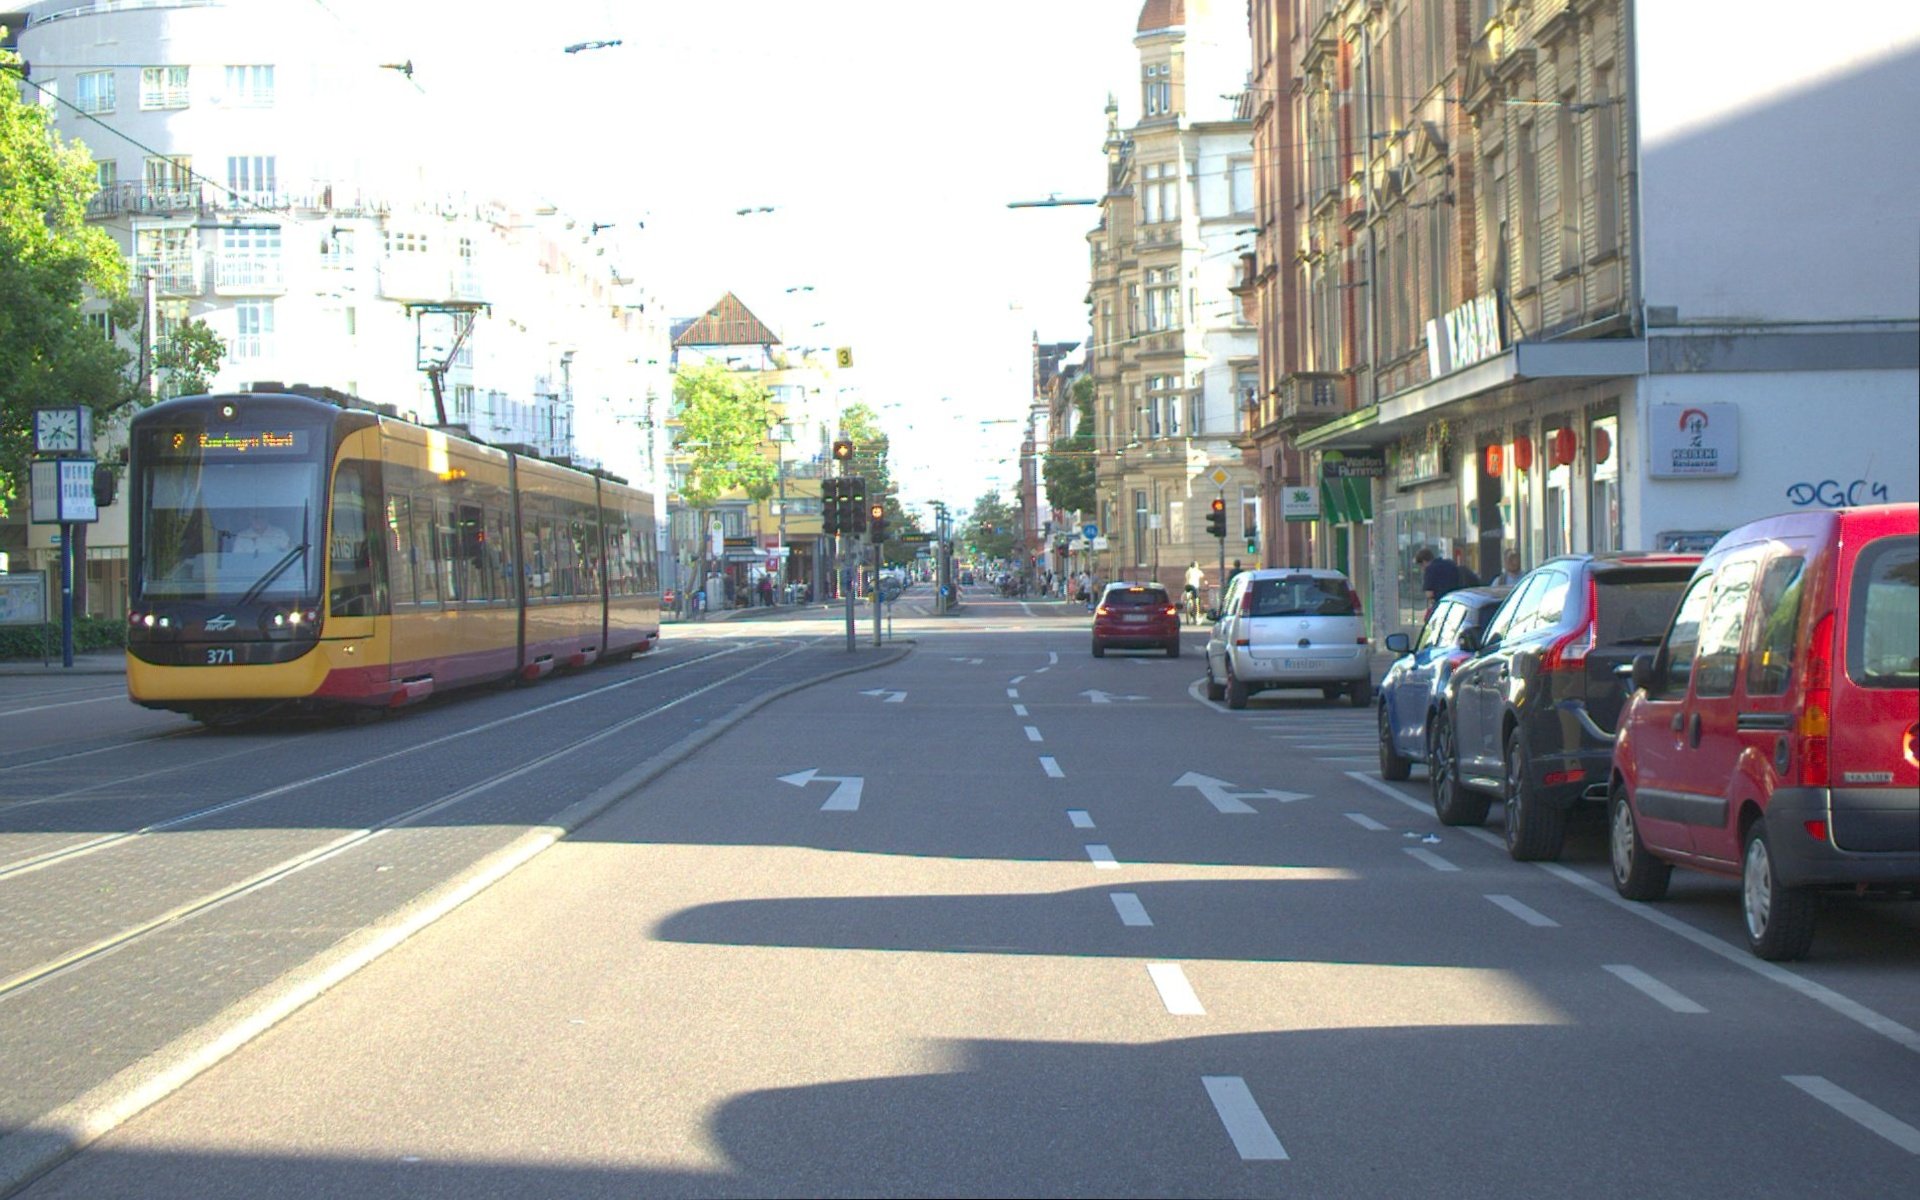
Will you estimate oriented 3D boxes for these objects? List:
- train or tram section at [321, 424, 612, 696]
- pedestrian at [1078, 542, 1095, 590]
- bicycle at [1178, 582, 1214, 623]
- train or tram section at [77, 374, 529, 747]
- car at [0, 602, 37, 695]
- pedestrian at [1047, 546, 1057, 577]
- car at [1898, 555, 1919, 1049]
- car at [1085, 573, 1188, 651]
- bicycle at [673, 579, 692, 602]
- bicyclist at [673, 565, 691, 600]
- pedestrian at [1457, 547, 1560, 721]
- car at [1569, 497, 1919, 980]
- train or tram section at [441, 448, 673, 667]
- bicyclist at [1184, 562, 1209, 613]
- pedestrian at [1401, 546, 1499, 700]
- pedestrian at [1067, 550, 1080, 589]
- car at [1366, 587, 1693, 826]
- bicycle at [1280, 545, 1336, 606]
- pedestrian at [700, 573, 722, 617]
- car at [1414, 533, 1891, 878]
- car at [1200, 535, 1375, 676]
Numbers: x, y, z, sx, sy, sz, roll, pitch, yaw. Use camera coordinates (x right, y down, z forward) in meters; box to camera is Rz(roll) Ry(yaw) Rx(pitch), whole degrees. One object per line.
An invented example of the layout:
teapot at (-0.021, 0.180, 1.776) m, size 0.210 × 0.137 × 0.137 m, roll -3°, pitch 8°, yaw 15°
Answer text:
train or tram section at (-7.167, -0.614, 51.574) m, size 2.675 × 3.539 × 11.127 m, roll -2°, pitch 1°, yaw 0°
pedestrian at (5.329, -1.430, 144.642) m, size 0.651 × 2.007 × 0.760 m, roll -1°, pitch 1°, yaw 0°
bicycle at (6.577, 0.076, 95.960) m, size 0.421 × 1.093 × 1.411 m, roll -2°, pitch 0°, yaw 28°
train or tram section at (-7.185, -0.471, 39.759) m, size 2.758 × 3.539 × 12.468 m, roll -2°, pitch 1°, yaw 0°
car at (-18.017, 0.850, 58.237) m, size 4.266 × 1.561 × 1.827 m, roll -1°, pitch 0°, yaw -31°
pedestrian at (5.868, -2.458, 220.097) m, size 0.577 × 2.007 × 0.631 m, roll -1°, pitch 1°, yaw 1°
car at (3.933, 0.646, 9.047) m, size 1.787 × 1.590 × 4.326 m, roll -1°, pitch 0°, yaw 1°
car at (3.472, 0.214, 68.248) m, size 1.754 × 1.461 × 3.945 m, roll 0°, pitch 1°, yaw -1°
bicycle at (-14.579, -0.521, 180.805) m, size 0.807 × 1.143 × 2.010 m, roll -2°, pitch 1°, yaw 1°
bicyclist at (-14.596, -0.937, 180.654) m, size 0.807 × 1.815 × 0.993 m, roll -2°, pitch 1°, yaw 1°
pedestrian at (5.699, 0.348, 35.756) m, size 0.787 × 1.732 × 0.946 m, roll -4°, pitch 0°, yaw 0°
car at (3.895, 0.497, 14.973) m, size 1.675 × 1.802 × 4.249 m, roll 0°, pitch 0°, yaw -1°
train or tram section at (-7.231, -0.793, 63.527) m, size 2.675 × 3.539 × 12.842 m, roll -2°, pitch 1°, yaw 0°
bicyclist at (6.611, -0.345, 96.037) m, size 0.421 × 1.404 × 0.658 m, roll -1°, pitch 1°, yaw 28°
pedestrian at (5.905, 0.266, 41.491) m, size 0.946 × 1.786 × 1.055 m, roll -3°, pitch 1°, yaw 0°
pedestrian at (5.864, -1.576, 177.734) m, size 0.577 × 2.007 × 0.630 m, roll -1°, pitch 1°, yaw 7°
car at (4.050, 0.708, 24.978) m, size 1.637 × 1.487 × 3.795 m, roll 1°, pitch 2°, yaw -1°
bicycle at (7.035, -0.503, 69.491) m, size 0.716 × 1.148 × 1.653 m, roll -3°, pitch 1°, yaw 19°
pedestrian at (-9.856, -0.215, 136.184) m, size 0.768 × 1.724 × 0.572 m, roll -1°, pitch 1°, yaw 3°
car at (3.829, 0.496, 19.775) m, size 1.820 × 1.751 × 4.475 m, roll 0°, pitch 1°, yaw 0°
car at (3.926, 0.031, 41.746) m, size 1.637 × 1.609 × 3.945 m, roll -1°, pitch 1°, yaw -1°
